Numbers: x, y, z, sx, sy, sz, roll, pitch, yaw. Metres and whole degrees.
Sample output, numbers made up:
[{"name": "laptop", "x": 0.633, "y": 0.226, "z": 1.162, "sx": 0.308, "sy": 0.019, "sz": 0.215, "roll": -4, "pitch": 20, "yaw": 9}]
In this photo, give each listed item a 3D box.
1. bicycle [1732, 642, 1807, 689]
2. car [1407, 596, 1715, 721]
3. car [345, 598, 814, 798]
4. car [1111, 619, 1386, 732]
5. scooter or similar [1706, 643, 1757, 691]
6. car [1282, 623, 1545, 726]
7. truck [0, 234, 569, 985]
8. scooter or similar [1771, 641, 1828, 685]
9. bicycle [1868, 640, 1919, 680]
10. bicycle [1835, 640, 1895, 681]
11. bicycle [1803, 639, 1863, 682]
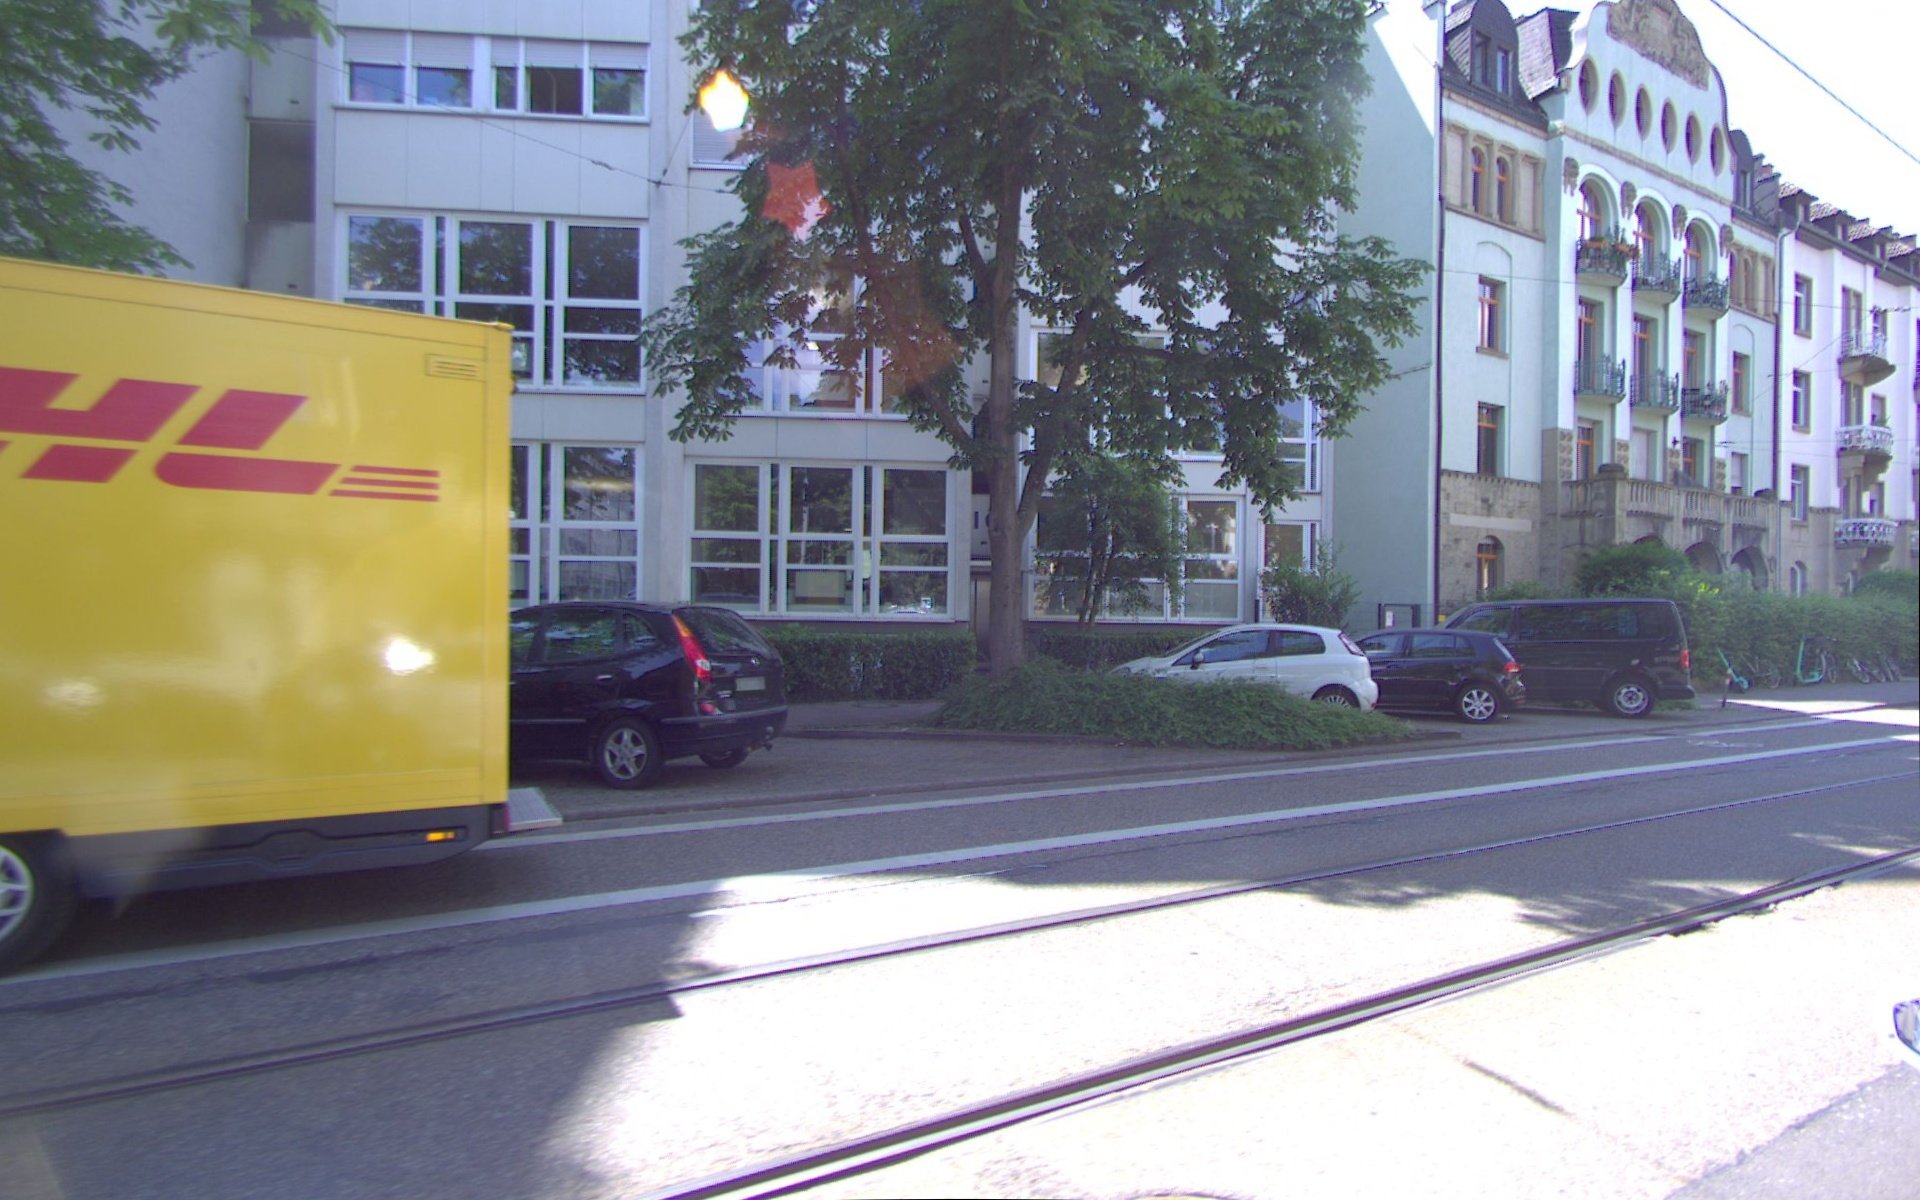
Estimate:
[{"name": "bicycle", "x": 18.369, "y": 1.470, "z": 22.773, "sx": 2.222, "sy": 0.982, "sz": 0.540, "roll": 1, "pitch": 1, "yaw": -30}, {"name": "car", "x": 10.301, "y": 0.958, "z": 17.630, "sx": 4.400, "sy": 1.966, "sz": 1.704, "roll": 1, "pitch": -1, "yaw": 22}, {"name": "car", "x": -3.508, "y": 0.840, "z": 9.498, "sx": 3.840, "sy": 1.621, "sz": 1.749, "roll": -1, "pitch": -2, "yaw": 14}, {"name": "car", "x": 4.237, "y": 1.070, "z": 15.058, "sx": 3.735, "sy": 1.476, "sz": 1.706, "roll": 1, "pitch": -1, "yaw": 14}, {"name": "scooter or similar", "x": 16.681, "y": 1.442, "z": 21.728, "sx": 0.946, "sy": 0.982, "sz": 0.540, "roll": 1, "pitch": 1, "yaw": -30}, {"name": "car", "x": 7.286, "y": 1.153, "z": 16.465, "sx": 3.737, "sy": 1.476, "sz": 1.634, "roll": 1, "pitch": -2, "yaw": 20}, {"name": "truck", "x": -5.636, "y": 0.036, "z": 4.110, "sx": 7.289, "sy": 2.890, "sz": 2.350, "roll": 1, "pitch": -1, "yaw": -30}, {"name": "scooter or similar", "x": 19.918, "y": 1.474, "z": 23.836, "sx": 1.481, "sy": 0.982, "sz": 0.540, "roll": 1, "pitch": 1, "yaw": -30}, {"name": "bicycle", "x": 24.812, "y": 1.590, "z": 26.598, "sx": 1.966, "sy": 0.982, "sz": 0.540, "roll": 3, "pitch": 0, "yaw": -30}, {"name": "bicycle", "x": 23.071, "y": 1.537, "z": 25.592, "sx": 1.966, "sy": 0.982, "sz": 0.540, "roll": 2, "pitch": 0, "yaw": -30}, {"name": "bicycle", "x": 21.393, "y": 1.496, "z": 24.611, "sx": 1.801, "sy": 0.982, "sz": 0.540, "roll": 3, "pitch": 0, "yaw": -30}]
